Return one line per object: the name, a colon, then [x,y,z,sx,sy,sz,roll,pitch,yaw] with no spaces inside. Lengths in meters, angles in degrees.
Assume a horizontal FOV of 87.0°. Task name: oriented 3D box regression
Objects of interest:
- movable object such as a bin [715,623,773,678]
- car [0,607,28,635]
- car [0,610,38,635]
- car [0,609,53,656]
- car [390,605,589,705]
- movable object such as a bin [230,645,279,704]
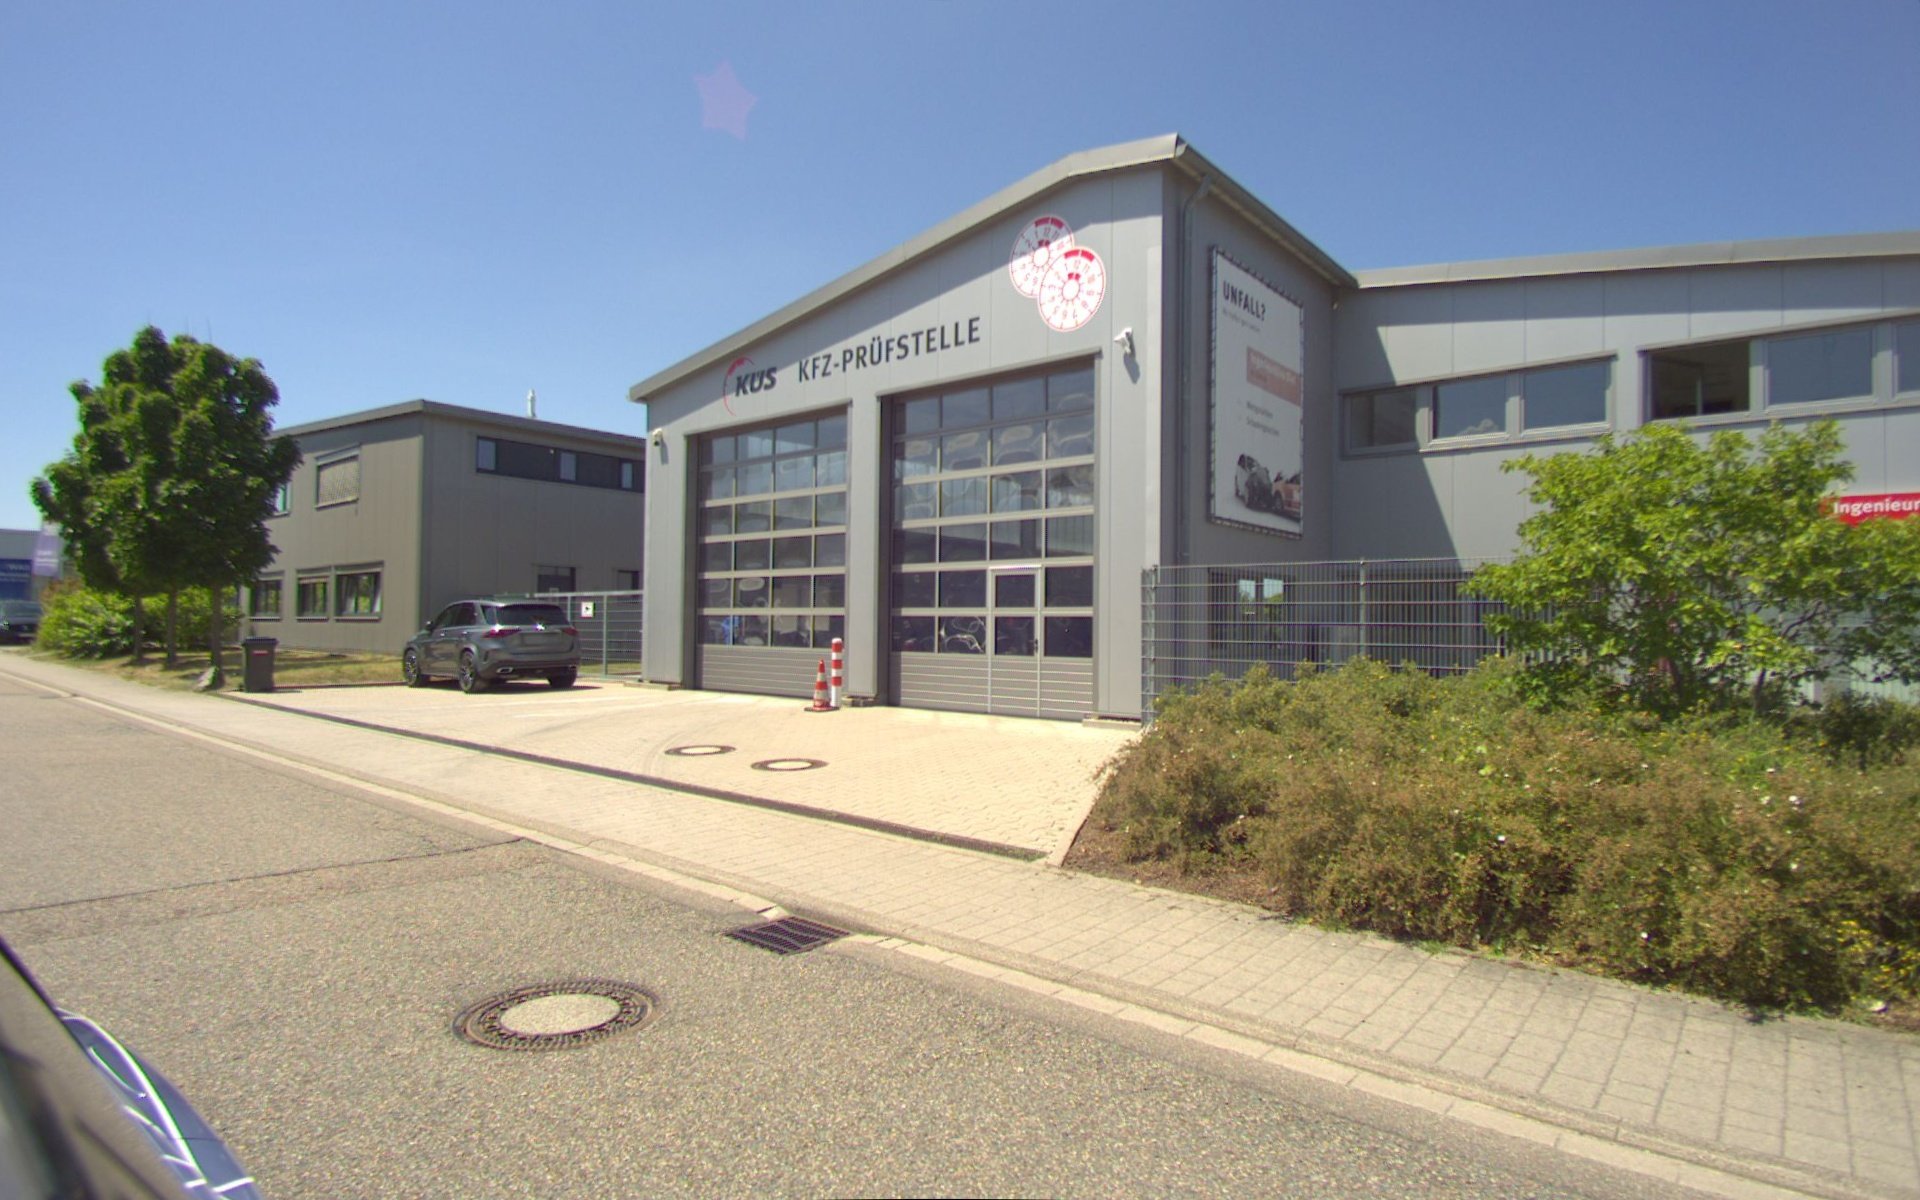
movable object such as a bin: [-5.823,1.346,27.287,1.148,1.426,1.012,-3,-2,37]
car: [-54.730,1.196,57.294,1.534,1.529,2.713,-2,-2,39]
car: [-56.639,1.304,58.884,1.846,1.442,4.263,-2,-2,41]
car: [-41.278,1.396,44.047,5.214,1.971,1.973,-1,-2,40]
car: [-9.511,1.055,20.240,4.914,1.749,1.971,-3,-2,44]
movable object such as a bin: [-13.533,1.415,19.409,0.765,1.074,0.573,-1,0,40]
